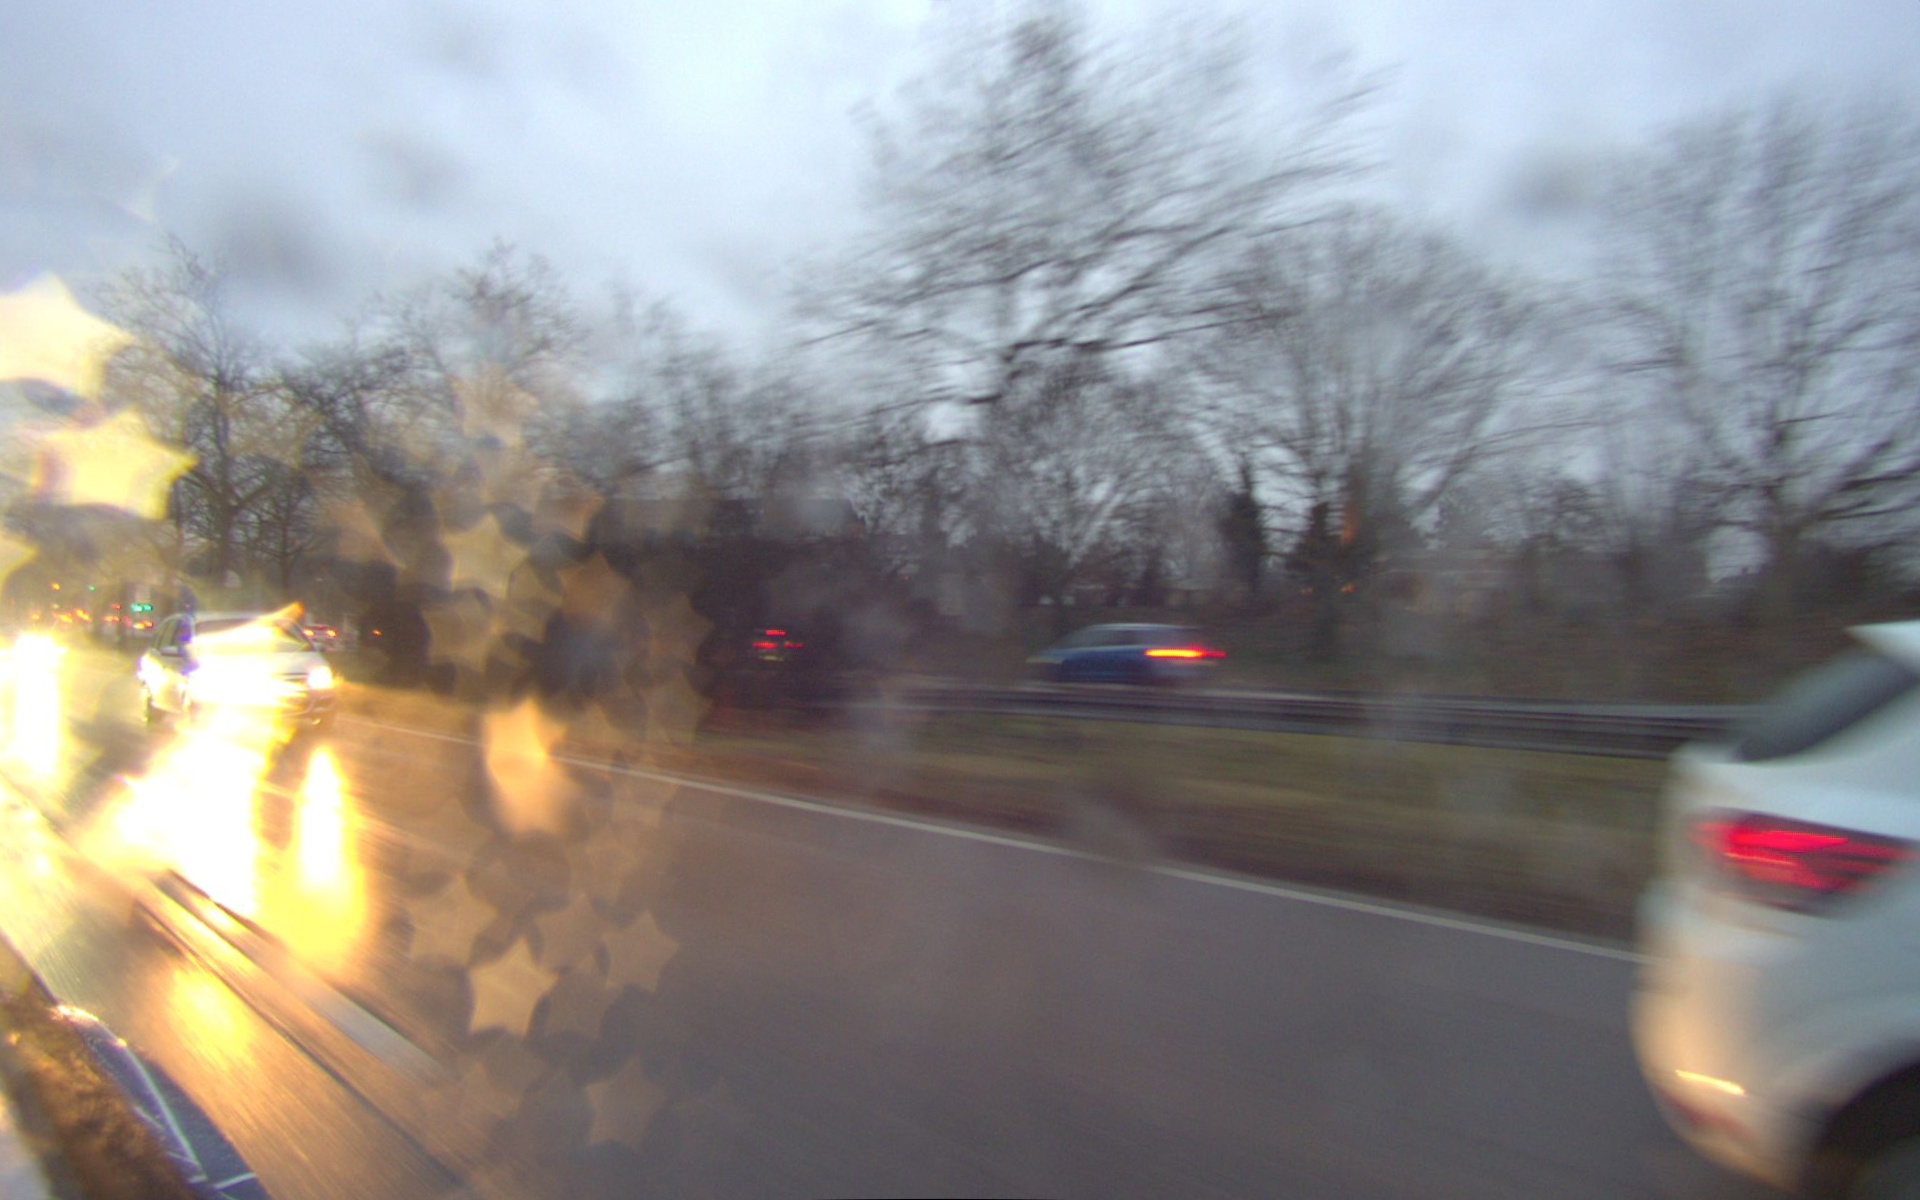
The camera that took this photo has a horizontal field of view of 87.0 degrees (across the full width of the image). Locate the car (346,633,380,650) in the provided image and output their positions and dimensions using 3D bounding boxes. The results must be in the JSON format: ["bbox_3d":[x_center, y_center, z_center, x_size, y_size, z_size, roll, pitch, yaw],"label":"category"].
[{"bbox_3d":[-50.084,3.439,84.871,1.560,1.312,4.107,2,-2,-44],"label":"car"}]

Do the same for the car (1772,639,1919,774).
[{"bbox_3d":[12.404,1.264,11.825,1.763,1.545,4.380,2,-2,-45],"label":"car"}]

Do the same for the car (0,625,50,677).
[{"bbox_3d":[-30.702,1.585,32.359,4.146,1.542,1.999,-1,-2,43],"label":"car"}]

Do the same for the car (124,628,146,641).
[{"bbox_3d":[-101.627,4.223,124.660,3.957,1.511,1.630,-1,-2,44],"label":"car"}]

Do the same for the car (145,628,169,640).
[{"bbox_3d":[-91.550,3.873,115.418,3.957,1.364,1.630,-1,-2,44],"label":"car"}]

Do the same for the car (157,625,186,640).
[{"bbox_3d":[-81.371,3.332,104.416,4.379,1.545,1.763,-1,-2,44],"label":"car"}]

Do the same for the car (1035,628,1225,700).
[{"bbox_3d":[4.153,1.526,25.287,4.599,1.577,1.630,-1,-2,44],"label":"car"}]

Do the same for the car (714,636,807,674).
[{"bbox_3d":[-7.978,2.156,40.273,3.957,1.364,1.630,-1,-2,44],"label":"car"}]

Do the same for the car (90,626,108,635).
[{"bbox_3d":[-125.146,4.406,147.078,3.957,1.338,1.520,-1,-2,44],"label":"car"}]

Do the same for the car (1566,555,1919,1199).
[{"bbox_3d":[3.430,0.636,1.348,4.227,1.451,1.704,-1,-2,44],"label":"car"}]

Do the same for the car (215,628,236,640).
[{"bbox_3d":[-89.032,4.103,122.674,1.727,1.405,4.306,2,-2,-40],"label":"car"}]

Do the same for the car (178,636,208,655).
[{"bbox_3d":[-71.064,4.151,93.734,3.982,1.694,1.599,-2,-2,44],"label":"car"}]

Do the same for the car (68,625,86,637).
[{"bbox_3d":[-121.793,4.290,139.559,4.001,1.515,1.552,-1,-1,44],"label":"car"}]

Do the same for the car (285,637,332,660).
[{"bbox_3d":[-42.958,3.176,66.742,3.979,1.436,1.729,-1,-2,44],"label":"car"}]

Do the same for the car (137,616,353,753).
[{"bbox_3d":[-10.019,1.039,14.050,1.741,1.611,4.167,2,-2,-45],"label":"car"}]
